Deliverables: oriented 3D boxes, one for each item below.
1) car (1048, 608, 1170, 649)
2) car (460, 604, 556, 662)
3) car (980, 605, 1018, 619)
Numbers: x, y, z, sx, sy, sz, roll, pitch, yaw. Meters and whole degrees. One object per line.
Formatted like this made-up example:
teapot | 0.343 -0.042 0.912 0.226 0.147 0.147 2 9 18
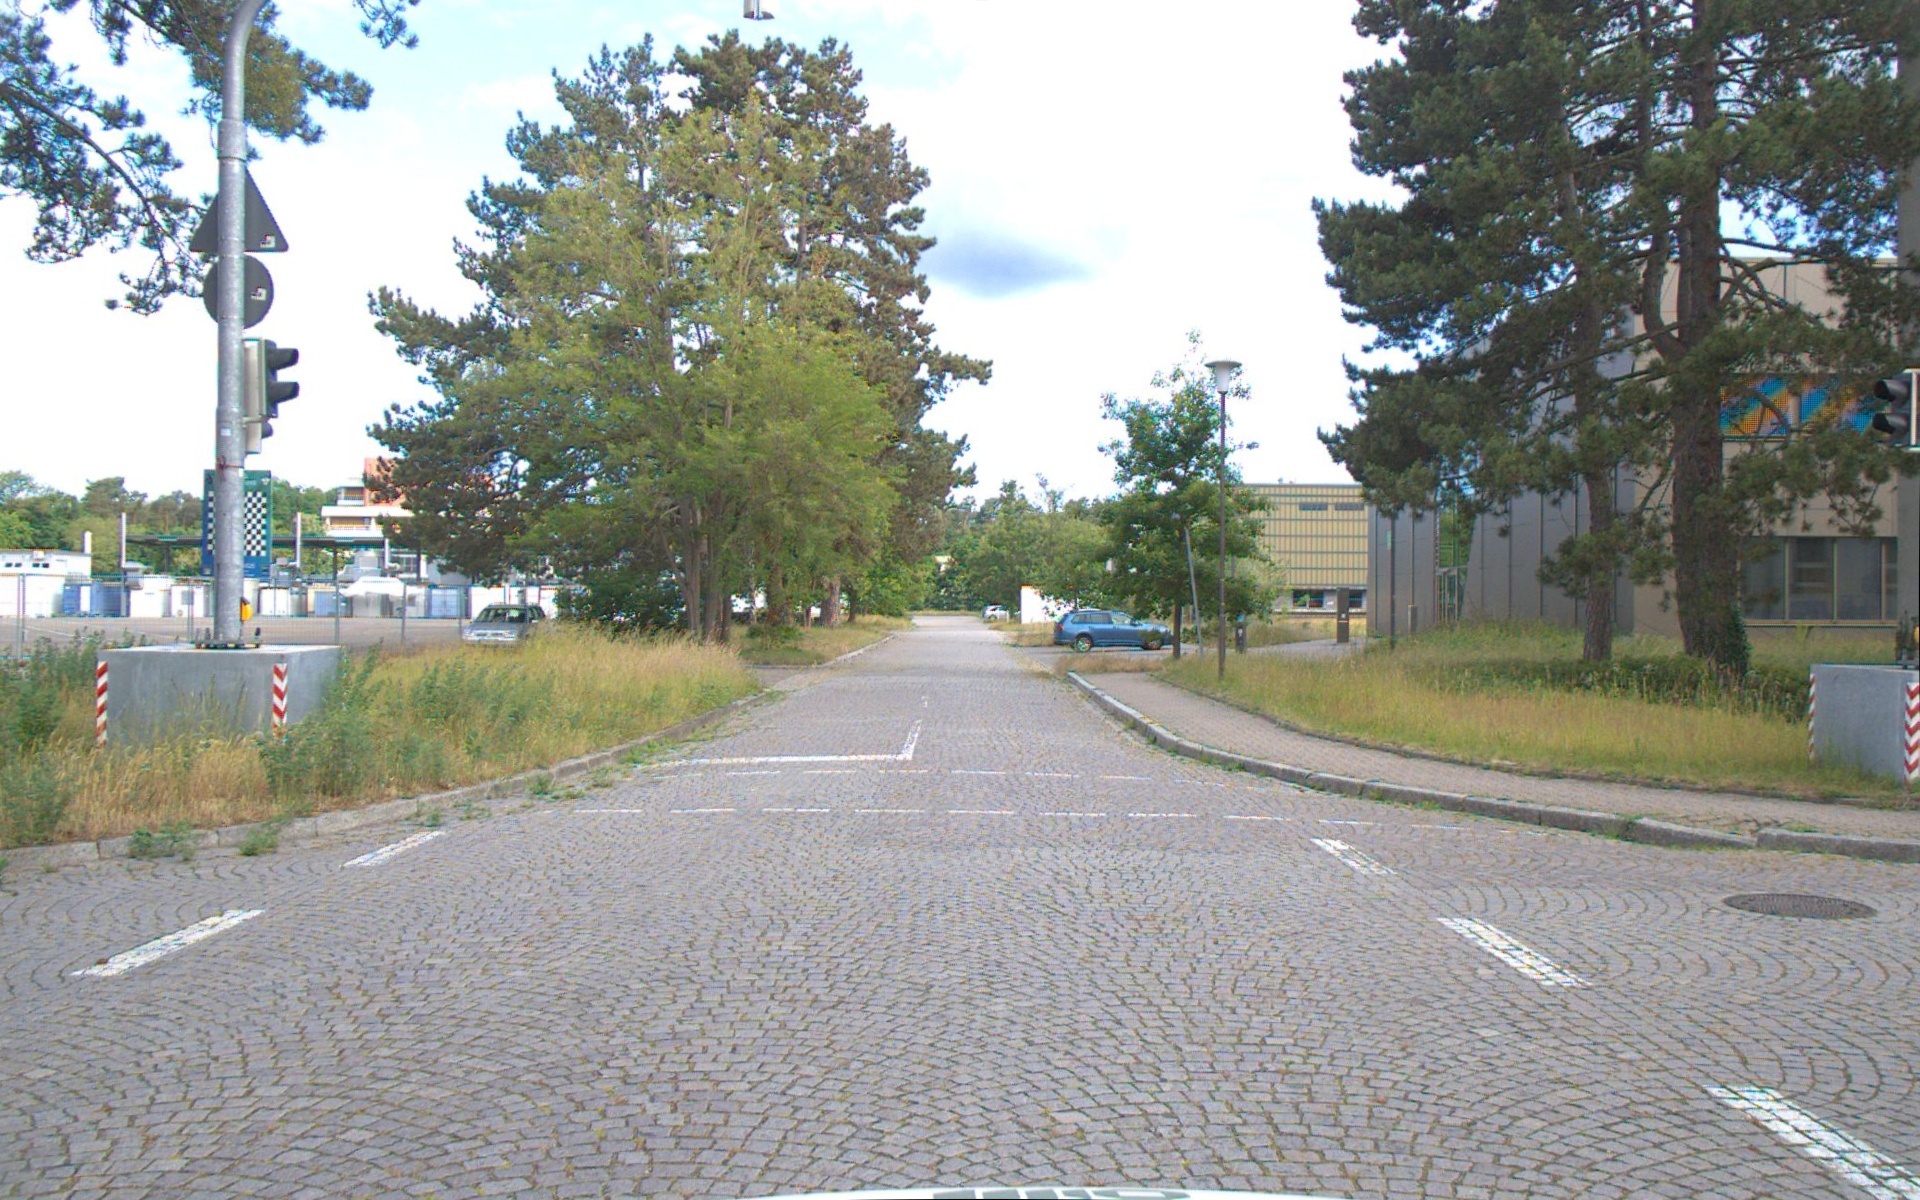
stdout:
car | 5.470 1.034 60.987 4.257 1.447 1.999 0 0 -3
car | -12.538 0.884 46.091 1.580 1.513 4.000 0 0 0
car | 4.165 1.288 178.048 3.910 1.422 1.997 0 0 -6
